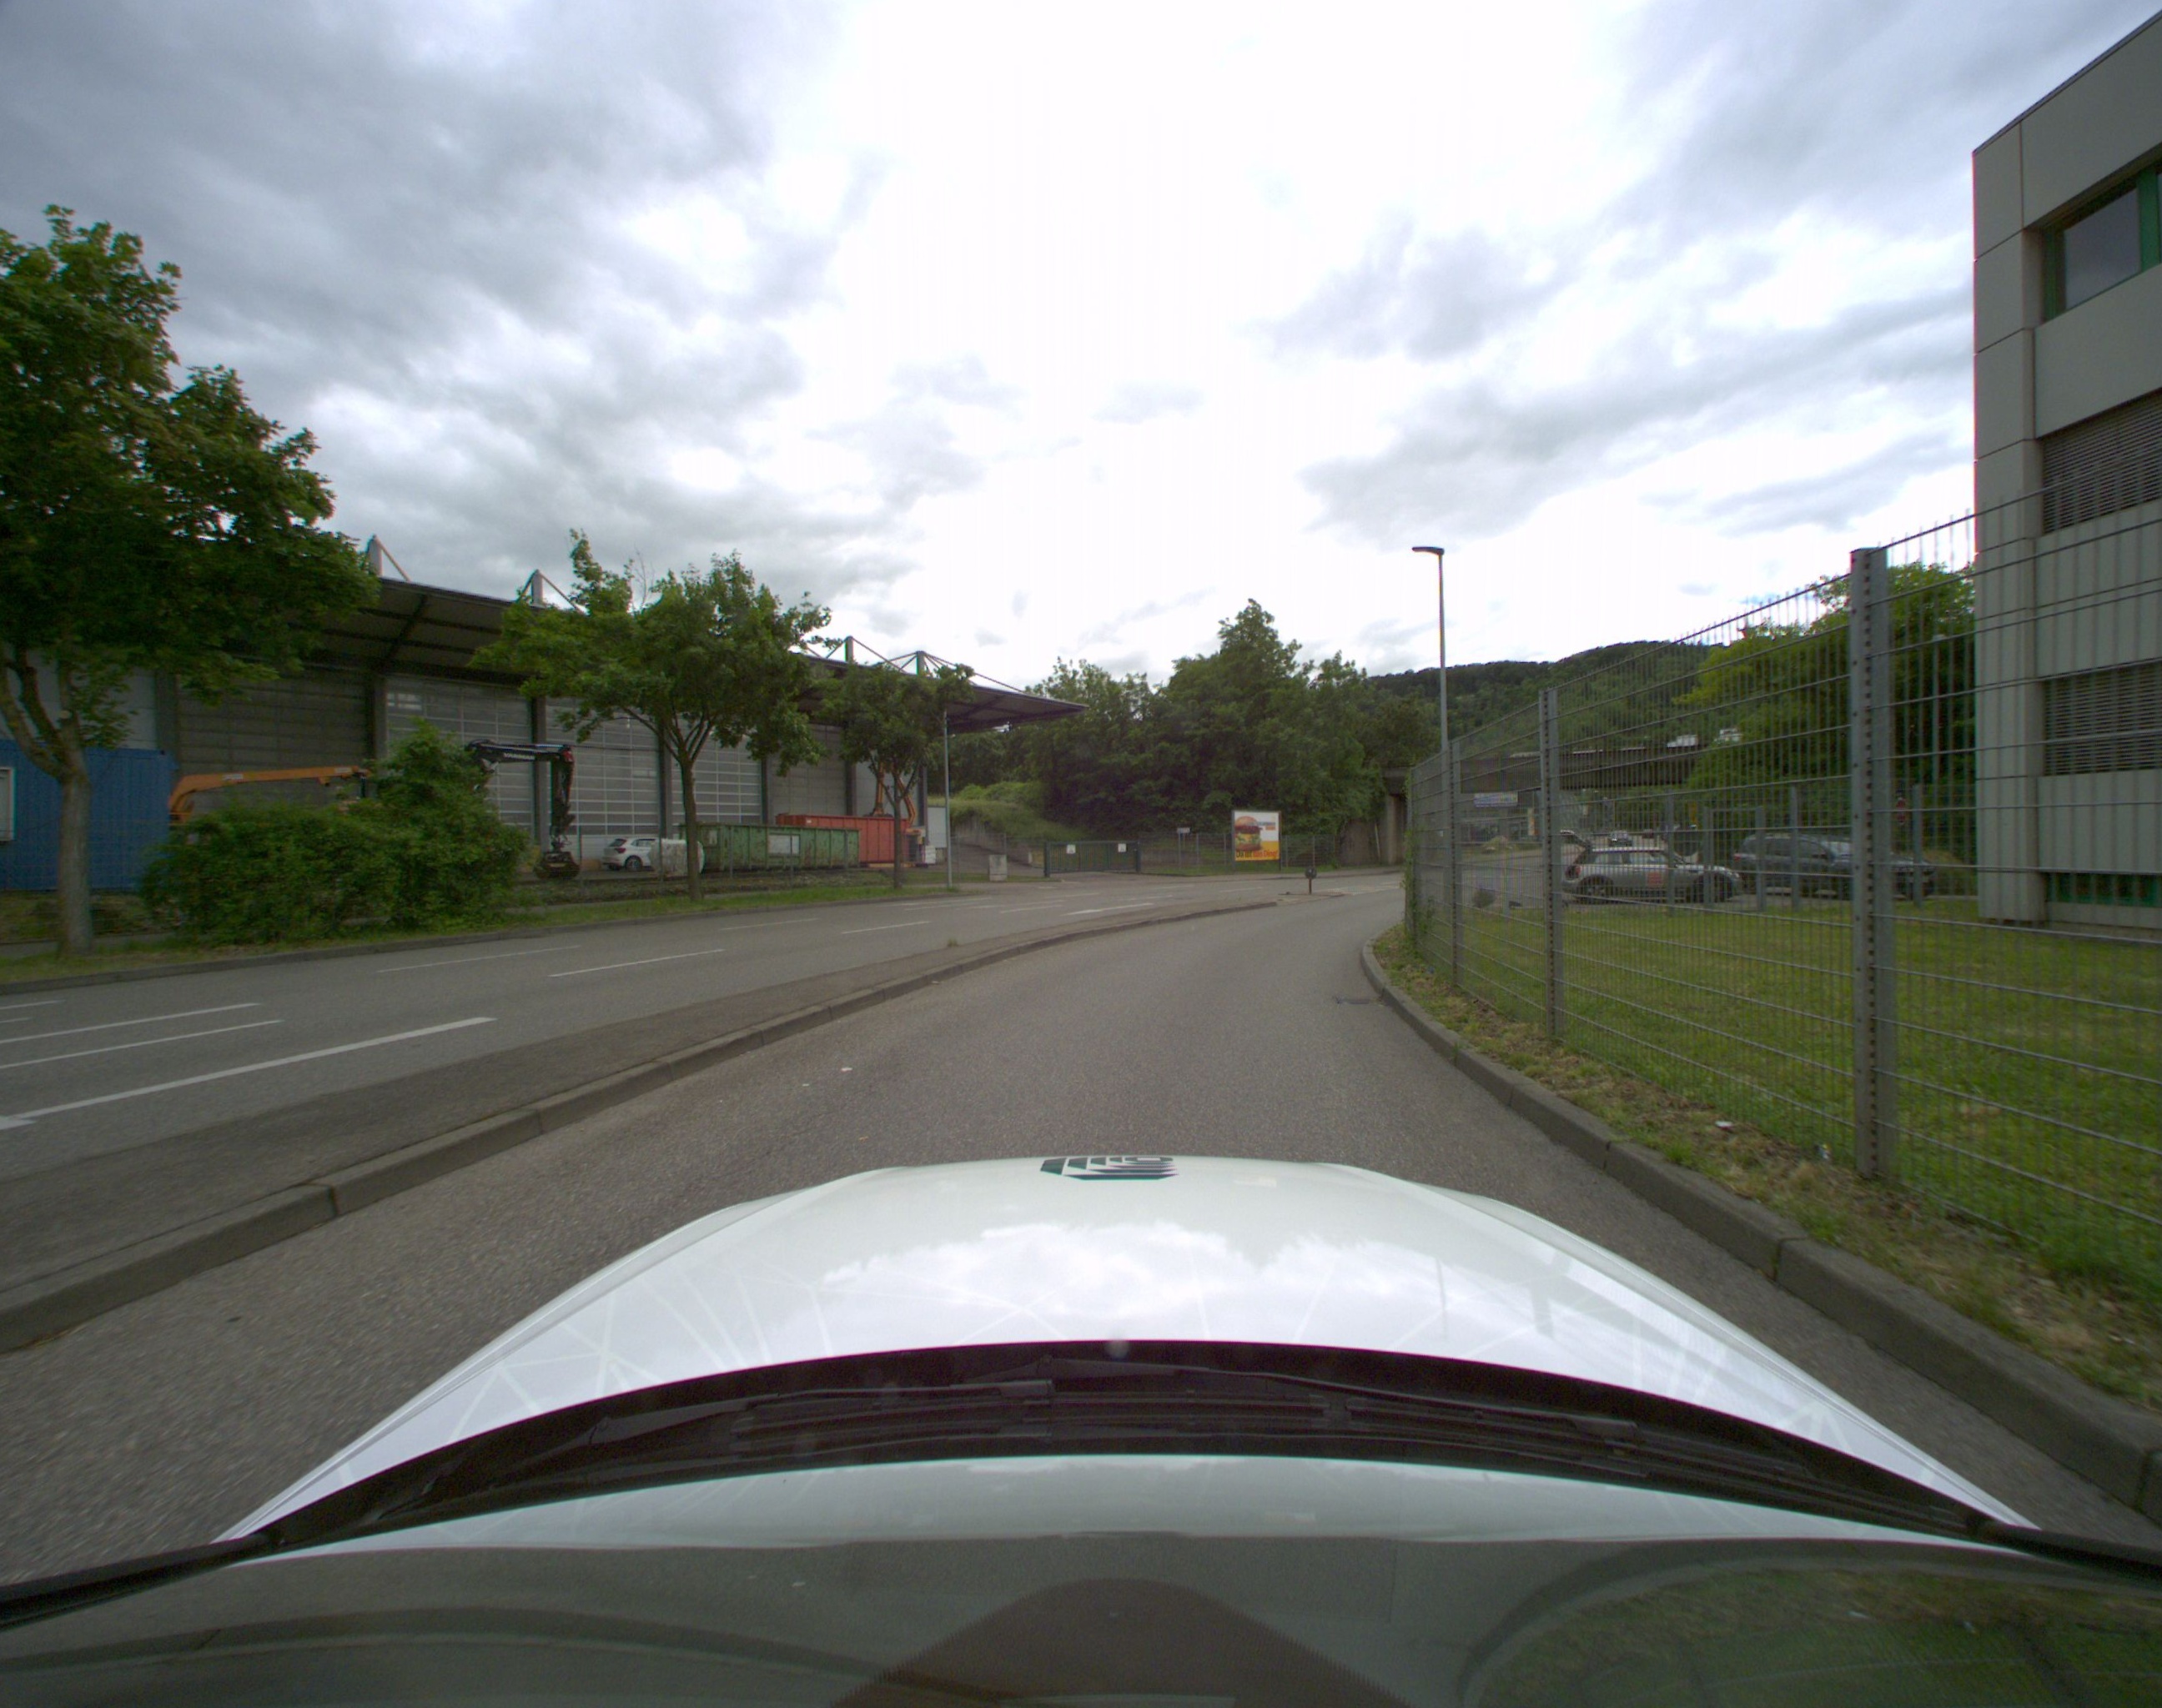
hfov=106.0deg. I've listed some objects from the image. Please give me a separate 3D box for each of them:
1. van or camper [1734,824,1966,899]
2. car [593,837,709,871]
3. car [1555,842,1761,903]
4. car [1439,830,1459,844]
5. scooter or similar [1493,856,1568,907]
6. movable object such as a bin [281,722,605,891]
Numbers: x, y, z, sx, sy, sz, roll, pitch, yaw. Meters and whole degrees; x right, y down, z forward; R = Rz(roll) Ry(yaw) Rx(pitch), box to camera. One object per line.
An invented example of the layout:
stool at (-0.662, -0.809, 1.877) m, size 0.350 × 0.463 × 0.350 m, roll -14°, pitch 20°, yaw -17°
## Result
van or camper at (19.143, 0.159, 20.626) m, size 1.819 × 1.694 × 4.510 m, roll 0°, pitch 0°, yaw 3°
car at (-18.453, -0.003, 35.077) m, size 1.716 × 1.374 × 4.025 m, roll -1°, pitch 0°, yaw 39°
car at (14.596, 0.463, 20.873) m, size 3.973 × 1.432 × 1.795 m, roll -2°, pitch 0°, yaw 21°
car at (42.379, -1.943, 93.881) m, size 1.976 × 1.535 × 4.022 m, roll 0°, pitch 1°, yaw 23°
scooter or similar at (10.484, 0.650, 19.031) m, size 0.483 × 1.133 × 1.402 m, roll -1°, pitch -2°, yaw -43°
movable object such as a bin at (-17.739, -1.203, 23.172) m, size 2.698 × 4.091 × 6.594 m, roll -2°, pitch 1°, yaw 32°
